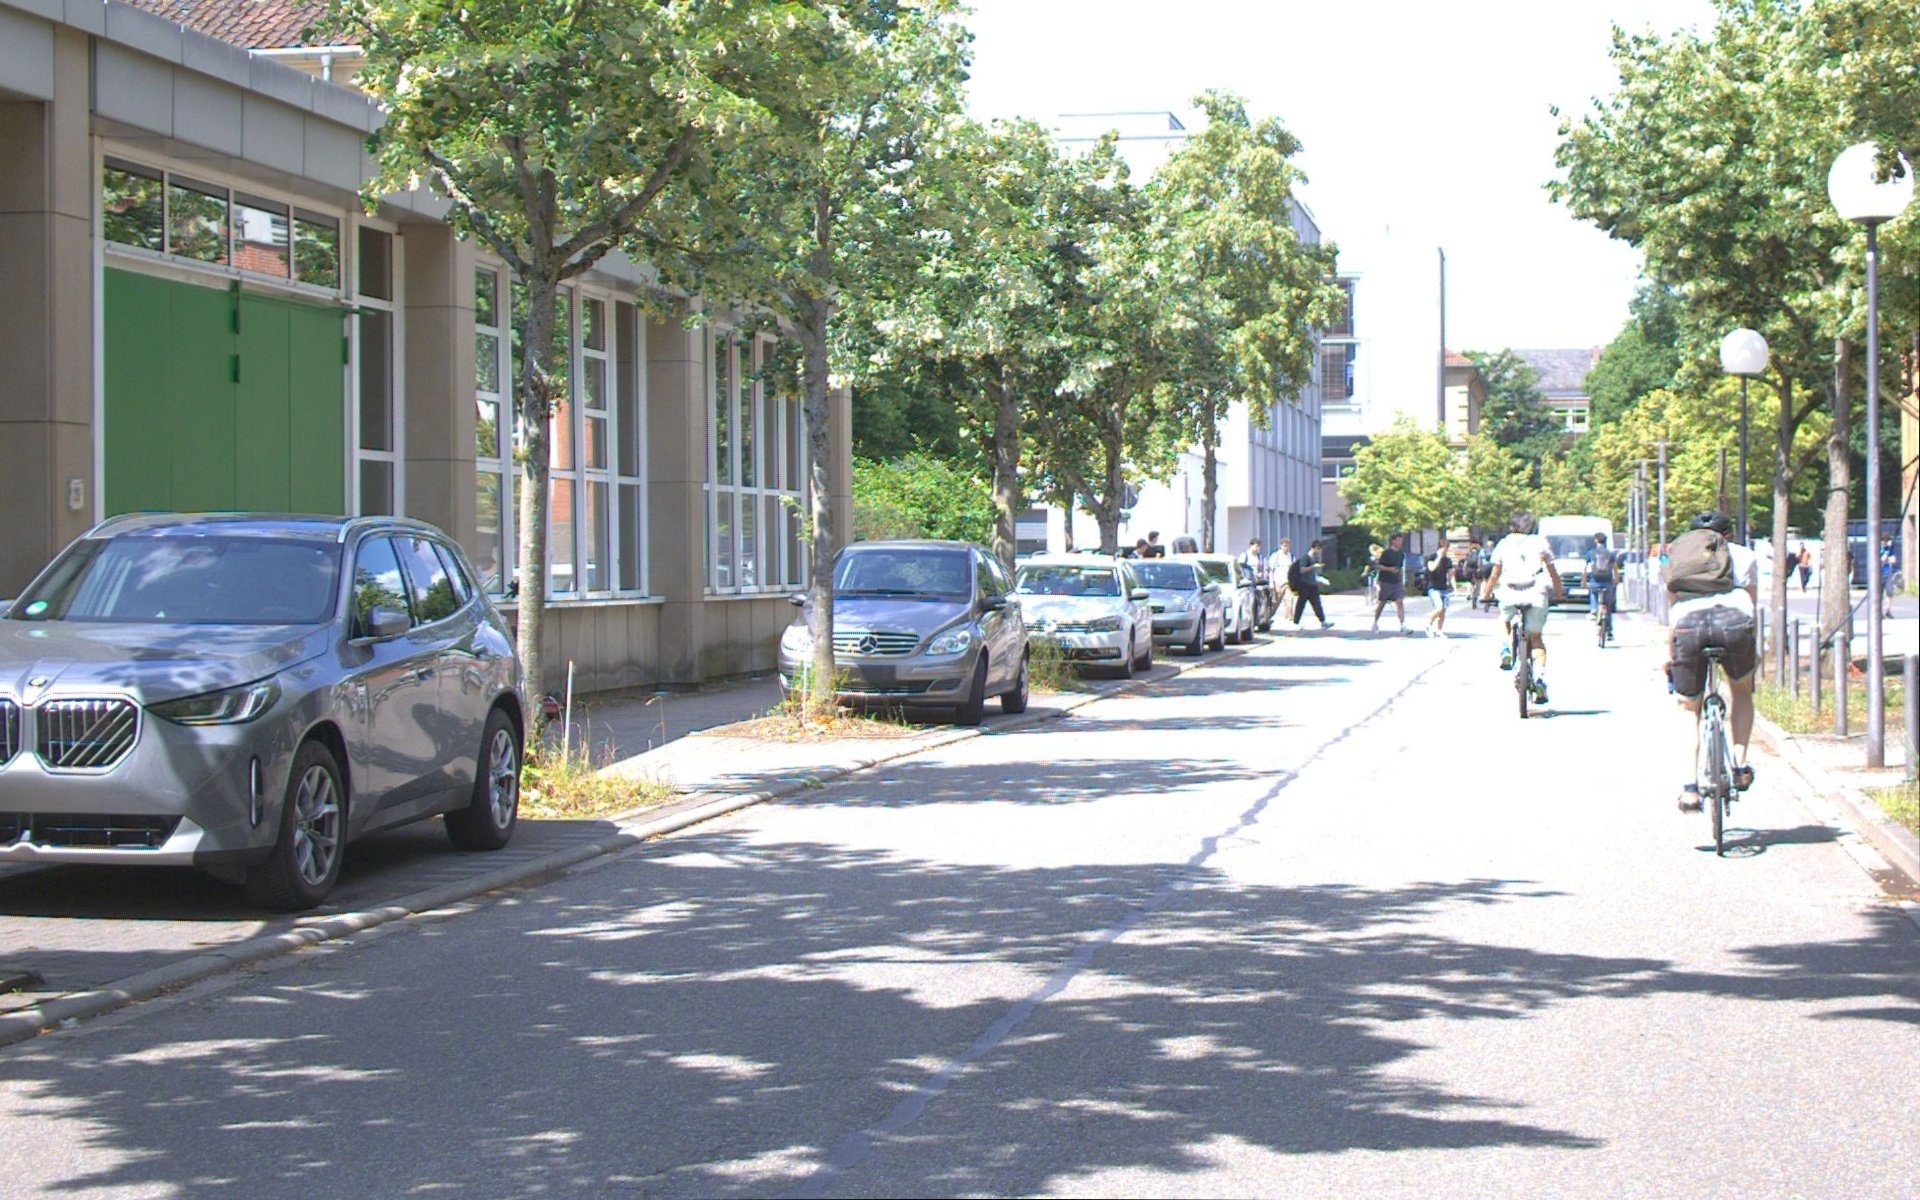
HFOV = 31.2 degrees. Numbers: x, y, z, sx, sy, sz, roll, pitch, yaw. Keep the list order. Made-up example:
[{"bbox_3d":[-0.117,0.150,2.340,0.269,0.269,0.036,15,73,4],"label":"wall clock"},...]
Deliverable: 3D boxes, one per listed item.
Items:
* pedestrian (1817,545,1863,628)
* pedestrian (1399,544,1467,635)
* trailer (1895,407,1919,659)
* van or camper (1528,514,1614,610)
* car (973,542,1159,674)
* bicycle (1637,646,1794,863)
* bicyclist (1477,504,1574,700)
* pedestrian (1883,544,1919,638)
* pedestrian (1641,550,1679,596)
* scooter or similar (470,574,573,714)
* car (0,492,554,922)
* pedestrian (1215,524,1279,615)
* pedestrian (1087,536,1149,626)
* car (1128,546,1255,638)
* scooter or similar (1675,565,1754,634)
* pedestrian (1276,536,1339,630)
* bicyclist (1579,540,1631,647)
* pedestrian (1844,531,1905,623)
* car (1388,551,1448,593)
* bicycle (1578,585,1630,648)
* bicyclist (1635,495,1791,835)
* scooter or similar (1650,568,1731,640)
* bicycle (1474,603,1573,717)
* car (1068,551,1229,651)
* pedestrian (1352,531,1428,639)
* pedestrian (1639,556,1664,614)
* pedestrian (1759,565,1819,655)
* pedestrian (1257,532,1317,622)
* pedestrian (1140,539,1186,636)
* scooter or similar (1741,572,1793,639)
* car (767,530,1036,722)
[{"bbox_3d":[17.964,-0.271,70.148,0.501,1.625,0.571,-8,3,-25],"label":"pedestrian"},{"bbox_3d":[8.412,-0.190,61.121,0.847,1.589,0.830,-2,1,-33],"label":"pedestrian"},{"bbox_3d":[12.827,-0.813,40.663,2.692,3.041,6.255,-1,0,9],"label":"trailer"},{"bbox_3d":[15.963,-0.960,89.709,1.995,2.437,4.567,0,0,13],"label":"van or camper"},{"bbox_3d":[1.353,0.071,42.104,1.726,1.451,4.582,2,1,8],"label":"car"},{"bbox_3d":[3.802,0.752,17.412,0.707,0.990,1.910,0,0,10],"label":"bicycle"},{"bbox_3d":[5.208,0.013,31.621,0.771,1.750,0.848,3,1,11],"label":"bicyclist"},{"bbox_3d":[17.200,-0.181,62.078,0.876,1.632,0.948,-4,1,11],"label":"pedestrian"},{"bbox_3d":[31.366,-1.222,154.036,1.500,1.989,1.646,-3,1,8],"label":"pedestrian"},{"bbox_3d":[-3.774,0.369,29.661,0.505,1.165,1.215,2,1,10],"label":"scooter or similar"},{"bbox_3d":[-3.323,0.376,15.662,1.822,1.627,4.516,2,1,7],"label":"car"},{"bbox_3d":[5.587,-0.601,66.916,0.699,1.733,0.983,1,1,-43],"label":"pedestrian"},{"bbox_3d":[3.214,-0.392,69.858,0.803,1.766,0.853,6,5,36],"label":"pedestrian"},{"bbox_3d":[3.842,-0.154,56.618,1.663,1.407,3.805,2,1,10],"label":"car"},{"bbox_3d":[13.840,-0.013,63.052,1.263,1.260,0.638,1,1,42],"label":"scooter or similar"},{"bbox_3d":[6.547,-0.317,64.777,0.991,1.714,0.703,0,-4,20],"label":"pedestrian"},{"bbox_3d":[10.700,-0.107,57.051,0.809,1.750,0.692,1,0,11],"label":"bicyclist"},{"bbox_3d":[18.704,-0.468,70.335,0.708,1.781,0.753,-8,3,-25],"label":"pedestrian"},{"bbox_3d":[16.945,-1.046,127.064,1.796,1.525,3.998,0,1,14],"label":"car"},{"bbox_3d":[10.696,0.267,57.063,0.809,0.999,2.123,1,0,11],"label":"bicycle"},{"bbox_3d":[3.792,0.308,17.374,0.717,1.656,1.094,1,1,11],"label":"bicyclist"},{"bbox_3d":[13.080,0.063,61.579,1.263,1.260,0.649,1,1,42],"label":"scooter or similar"},{"bbox_3d":[5.219,0.539,31.755,0.809,0.999,2.122,1,0,12],"label":"bicycle"},{"bbox_3d":[2.808,-0.013,50.462,1.726,1.339,4.163,2,1,11],"label":"car"},{"bbox_3d":[7.959,-0.281,63.641,0.852,1.853,1.117,-3,7,-30],"label":"pedestrian"},{"bbox_3d":[22.326,-0.482,111.061,0.790,1.853,1.025,0,1,11],"label":"pedestrian"},{"bbox_3d":[16.582,0.197,68.755,0.960,1.688,0.704,5,4,20],"label":"pedestrian"},{"bbox_3d":[6.405,-0.451,67.277,0.676,1.733,0.908,0,2,-42],"label":"pedestrian"},{"bbox_3d":[4.160,-0.244,70.499,0.616,1.973,0.829,0,-1,-21],"label":"pedestrian"},{"bbox_3d":[14.223,0.085,60.577,0.649,1.156,1.263,0,1,25],"label":"scooter or similar"},{"bbox_3d":[-0.454,0.202,31.108,1.758,1.551,4.112,2,1,8],"label":"car"}]
